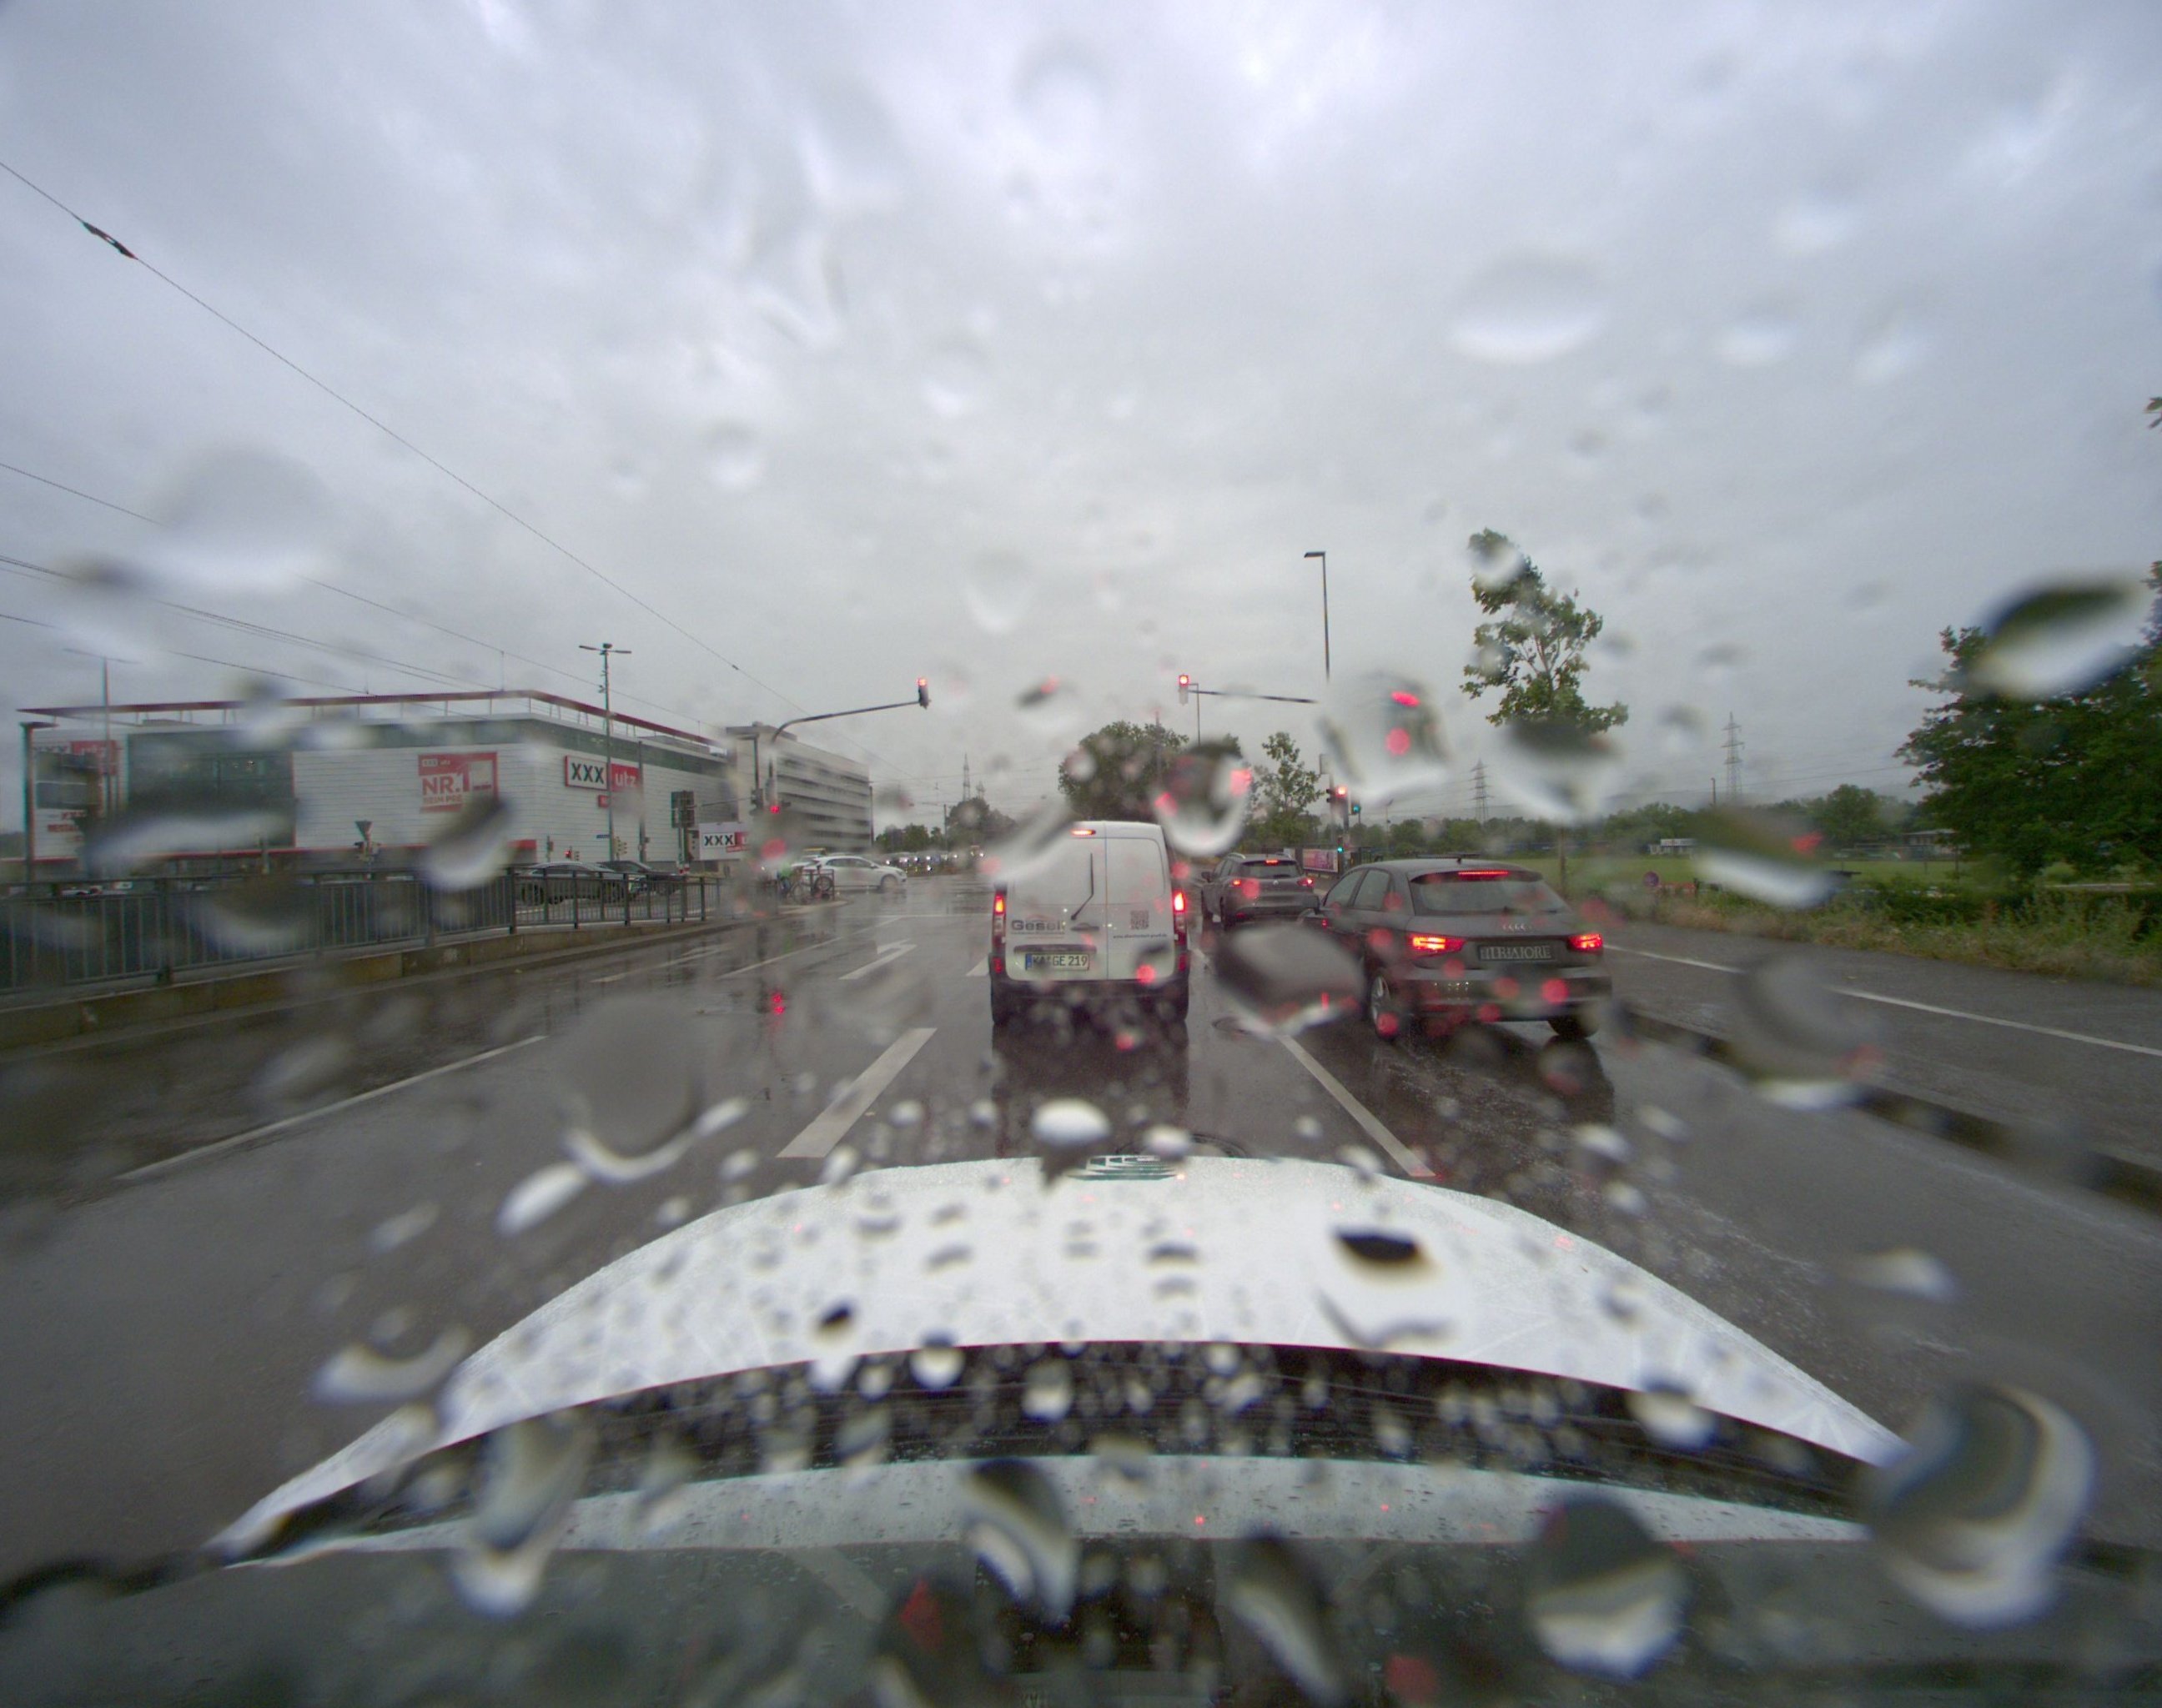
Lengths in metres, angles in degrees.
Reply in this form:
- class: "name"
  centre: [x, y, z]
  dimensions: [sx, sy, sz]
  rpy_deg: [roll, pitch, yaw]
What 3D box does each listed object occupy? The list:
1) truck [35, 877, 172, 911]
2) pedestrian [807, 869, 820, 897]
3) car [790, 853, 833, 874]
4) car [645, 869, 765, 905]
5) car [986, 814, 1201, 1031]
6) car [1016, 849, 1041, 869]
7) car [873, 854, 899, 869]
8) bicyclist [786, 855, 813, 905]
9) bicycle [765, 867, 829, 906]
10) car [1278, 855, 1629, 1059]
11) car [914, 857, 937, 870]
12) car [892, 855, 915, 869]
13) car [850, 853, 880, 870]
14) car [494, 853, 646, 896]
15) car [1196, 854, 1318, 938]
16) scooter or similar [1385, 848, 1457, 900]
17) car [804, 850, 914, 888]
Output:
- class: "truck"
  centre: [-60.371, 2.440, 50.369]
  dimensions: [5.859, 1.942, 2.012]
  rpy_deg: [1, -1, 0]
- class: "pedestrian"
  centre: [-8.794, 0.941, 26.771]
  dimensions: [0.314, 0.897, 0.380]
  rpy_deg: [1, 0, -1]
- class: "car"
  centre: [-19.394, 0.719, 58.710]
  dimensions: [1.704, 1.426, 3.810]
  rpy_deg: [1, -1, 2]
- class: "car"
  centre: [-16.533, 1.448, 36.027]
  dimensions: [4.500, 1.502, 1.706]
  rpy_deg: [1, -1, -14]
- class: "car"
  centre: [0.057, 0.531, 8.762]
  dimensions: [1.749, 1.750, 4.166]
  rpy_deg: [-1, 1, -2]
- class: "car"
  centre: [-4.498, 0.485, 70.694]
  dimensions: [1.942, 1.662, 4.461]
  rpy_deg: [1, -1, -1]
- class: "car"
  centre: [-18.836, 0.753, 78.933]
  dimensions: [1.554, 1.426, 3.570]
  rpy_deg: [1, -1, 2]
- class: "bicyclist"
  centre: [-8.550, 0.783, 24.765]
  dimensions: [0.608, 1.491, 0.593]
  rpy_deg: [0, -1, -39]
- class: "bicycle"
  centre: [-8.608, 0.960, 24.713]
  dimensions: [1.768, 1.137, 0.514]
  rpy_deg: [0, 0, -41]
- class: "car"
  centre: [3.105, 0.737, 7.634]
  dimensions: [1.592, 1.366, 3.630]
  rpy_deg: [-2, 0, 0]
- class: "car"
  centre: [-17.678, 1.084, 92.714]
  dimensions: [1.704, 1.426, 3.810]
  rpy_deg: [1, -1, 2]
- class: "car"
  centre: [-18.567, 0.883, 85.418]
  dimensions: [1.554, 1.426, 3.570]
  rpy_deg: [1, -1, 2]
- class: "car"
  centre: [-19.010, 0.670, 71.852]
  dimensions: [1.554, 1.426, 3.570]
  rpy_deg: [1, -1, 2]
- class: "car"
  centre: [-19.288, 0.776, 30.921]
  dimensions: [4.496, 1.502, 1.708]
  rpy_deg: [1, -1, -11]
- class: "car"
  centre: [3.414, 0.751, 16.462]
  dimensions: [1.678, 1.508, 3.921]
  rpy_deg: [0, 0, 1]
- class: "scooter or similar"
  centre: [8.554, 0.460, 20.660]
  dimensions: [0.687, 1.211, 3.022]
  rpy_deg: [-2, 0, 3]
- class: "car"
  centre: [-9.394, 0.649, 34.514]
  dimensions: [4.278, 1.502, 1.807]
  rpy_deg: [1, -1, -24]
